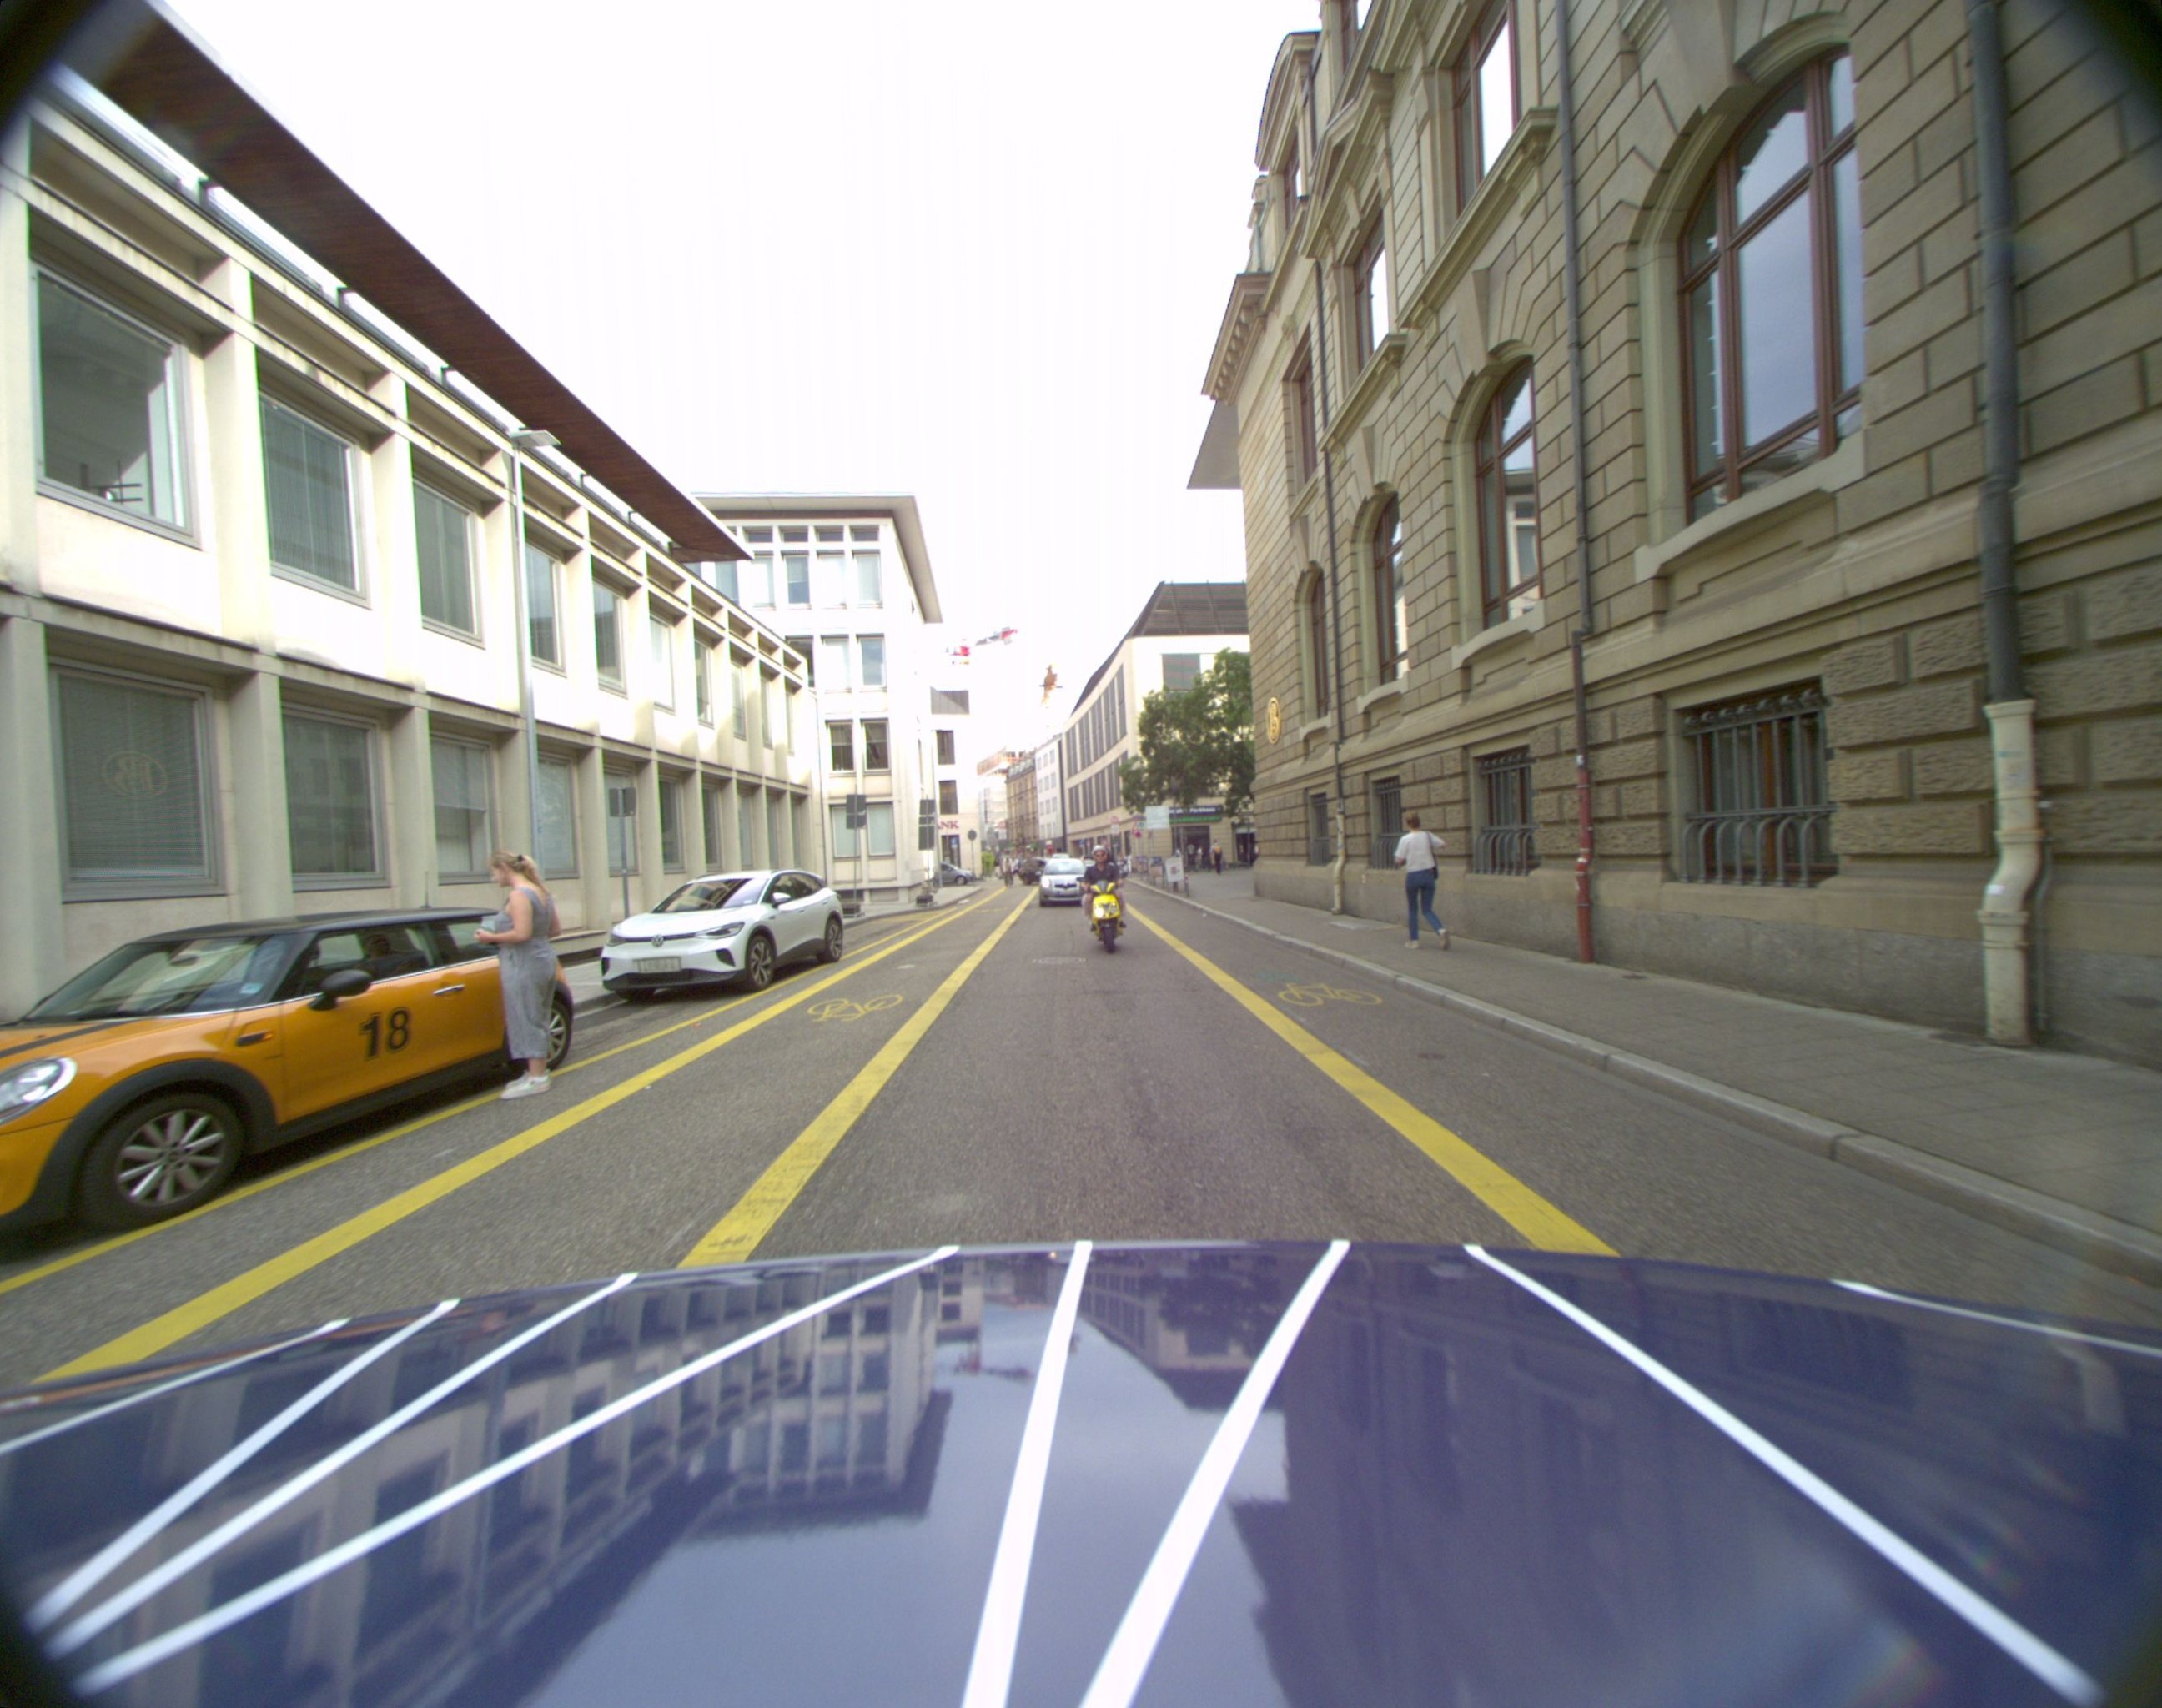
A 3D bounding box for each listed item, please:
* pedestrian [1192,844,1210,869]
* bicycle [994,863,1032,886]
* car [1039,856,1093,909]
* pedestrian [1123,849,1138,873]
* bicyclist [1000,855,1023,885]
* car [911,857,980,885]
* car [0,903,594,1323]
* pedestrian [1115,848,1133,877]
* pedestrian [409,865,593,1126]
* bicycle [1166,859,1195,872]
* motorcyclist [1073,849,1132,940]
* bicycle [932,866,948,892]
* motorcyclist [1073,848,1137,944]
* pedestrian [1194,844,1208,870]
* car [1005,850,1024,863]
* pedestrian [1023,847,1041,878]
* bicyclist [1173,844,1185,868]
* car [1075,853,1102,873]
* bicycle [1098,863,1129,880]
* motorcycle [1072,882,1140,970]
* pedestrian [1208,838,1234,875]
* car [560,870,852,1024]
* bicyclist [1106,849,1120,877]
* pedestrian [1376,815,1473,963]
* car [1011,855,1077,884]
[{"bbox_3d":[9.087,0.184,57.514,1.060,1.755,0.892,-6,2,-4],"label":"pedestrian"},{"bbox_3d":[-3.759,1.103,41.831,0.872,1.188,2.857,-3,1,-31],"label":"bicycle"},{"bbox_3d":[-0.519,0.868,25.022,1.562,1.482,3.783,-3,1,-2],"label":"car"},{"bbox_3d":[3.736,0.511,57.274,0.879,1.699,0.910,-6,1,-2],"label":"pedestrian"},{"bbox_3d":[-3.853,0.882,41.938,0.894,1.585,0.875,-3,1,-31],"label":"bicyclist"},{"bbox_3d":[-8.735,1.085,49.325,4.194,1.581,1.814,-3,1,-4],"label":"car"},{"bbox_3d":[-5.230,1.236,4.743,1.684,1.426,3.886,-5,1,2],"label":"car"},{"bbox_3d":[2.736,0.525,48.473,0.775,1.820,0.860,-3,1,-22],"label":"pedestrian"},{"bbox_3d":[-4.215,0.979,5.581,0.699,1.753,0.705,-3,1,-1],"label":"pedestrian"},{"bbox_3d":[6.729,0.782,51.444,1.769,0.792,0.663,-3,1,-5],"label":"bicycle"},{"bbox_3d":[0.344,0.647,12.533,0.903,1.445,0.742,-1,0,-1],"label":"motorcyclist"},{"bbox_3d":[-6.857,1.186,37.031,0.590,1.161,1.813,-3,1,-6],"label":"bicycle"},{"bbox_3d":[0.358,0.638,12.053,0.924,1.445,1.065,-1,0,-1],"label":"motorcyclist"},{"bbox_3d":[8.709,0.216,55.289,0.648,1.820,0.860,-3,1,-15],"label":"pedestrian"},{"bbox_3d":[-7.757,0.264,88.342,1.590,1.477,3.995,-3,1,-12],"label":"car"},{"bbox_3d":[-2.923,0.517,45.446,0.746,1.804,0.755,-7,2,-13],"label":"pedestrian"},{"bbox_3d":[6.619,0.124,51.425,0.586,1.586,0.663,-3,1,-5],"label":"bicyclist"},{"bbox_3d":[0.601,0.723,65.066,1.563,1.547,4.099,-3,1,-9],"label":"car"},{"bbox_3d":[1.903,1.047,45.140,1.724,0.829,0.602,-6,-1,-1],"label":"bicycle"},{"bbox_3d":[0.354,1.081,12.066,0.930,1.158,2.127,-2,0,-1],"label":"motorcycle"},{"bbox_3d":[6.984,0.123,37.911,1.029,1.710,0.818,-5,1,-1],"label":"pedestrian"},{"bbox_3d":[-5.097,1.144,11.205,1.865,1.595,4.512,-4,0,2],"label":"car"},{"bbox_3d":[1.889,0.536,45.142,0.643,1.610,0.623,-5,0,-2],"label":"bicyclist"},{"bbox_3d":[4.483,0.431,9.980,0.665,1.809,1.047,-5,1,-1],"label":"pedestrian"},{"bbox_3d":[-2.111,0.893,42.794,1.720,1.482,3.755,-4,1,-41],"label":"car"}]
